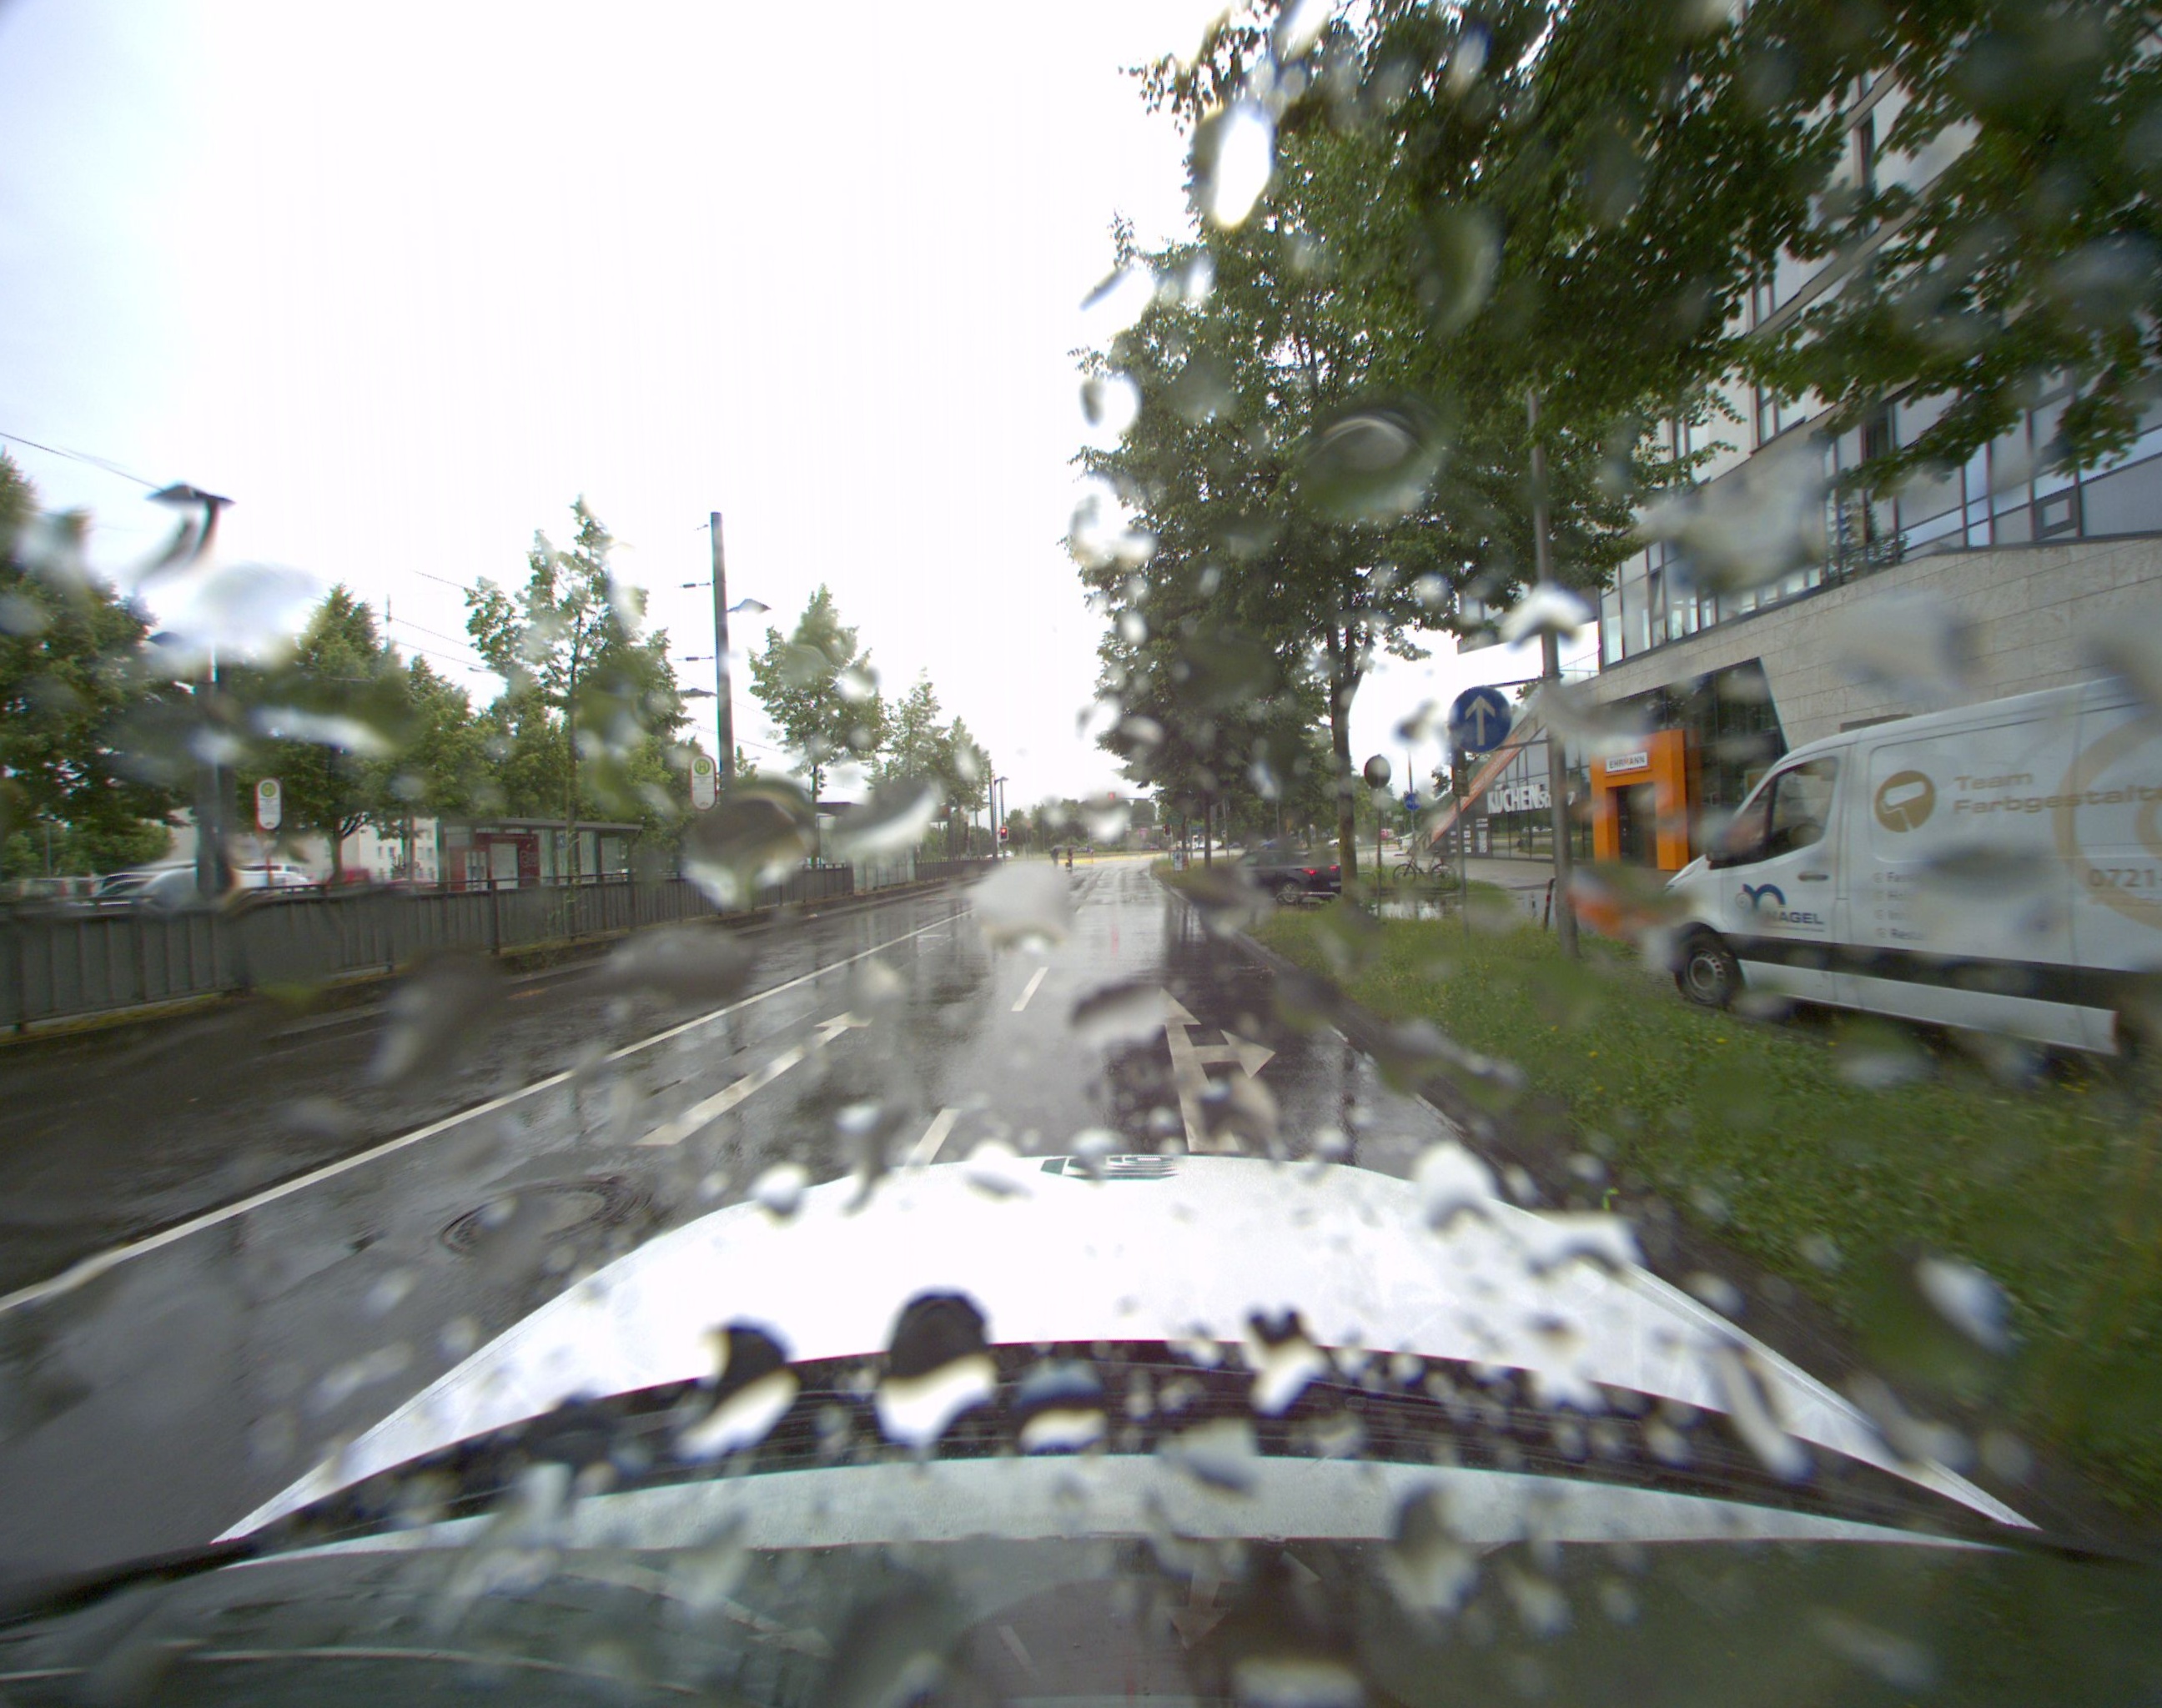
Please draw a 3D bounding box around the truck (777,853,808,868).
[{"bbox_3d":[-41.381,0.931,117.003,1.813,2.014,4.025,0,0,29],"label":"truck"}]

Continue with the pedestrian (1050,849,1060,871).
[{"bbox_3d":[-1.825,0.420,57.190,0.618,1.522,0.741,-1,0,2],"label":"pedestrian"}]

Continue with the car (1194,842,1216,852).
[{"bbox_3d":[22.386,-1.207,146.583,1.780,1.662,4.159,-1,-1,44],"label":"car"}]

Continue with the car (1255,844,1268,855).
[{"bbox_3d":[26.209,-0.696,118.278,1.606,1.454,4.005,-2,0,16],"label":"car"}]

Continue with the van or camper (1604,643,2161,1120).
[{"bbox_3d":[6.268,0.112,5.560,2.017,2.292,5.463,-2,0,2],"label":"van or camper"}]

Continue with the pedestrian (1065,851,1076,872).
[{"bbox_3d":[-0.730,0.504,58.373,0.678,1.461,0.573,-3,-1,-1],"label":"pedestrian"}]

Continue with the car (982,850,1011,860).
[{"bbox_3d":[-13.511,0.135,130.286,4.605,1.454,1.619,-2,0,-8],"label":"car"}]

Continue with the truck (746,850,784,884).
[{"bbox_3d":[-36.827,1.424,95.074,2.689,3.778,9.144,0,0,-12],"label":"truck"}]

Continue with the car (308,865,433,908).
[{"bbox_3d":[-47.680,2.097,54.926,1.607,2.470,6.512,-2,0,14],"label":"car"}]

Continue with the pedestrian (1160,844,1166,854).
[{"bbox_3d":[10.626,-0.665,105.255,0.448,1.304,0.489,-2,0,42],"label":"pedestrian"}]

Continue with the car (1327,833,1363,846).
[{"bbox_3d":[32.910,-1.768,101.603,3.960,1.454,1.624,-2,0,1],"label":"car"}]

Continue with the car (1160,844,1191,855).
[{"bbox_3d":[13.017,-0.598,112.292,1.633,1.454,4.062,-3,1,-45],"label":"car"}]

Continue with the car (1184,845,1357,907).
[{"bbox_3d":[5.013,0.540,22.032,1.842,1.420,4.296,-4,2,-39],"label":"car"}]

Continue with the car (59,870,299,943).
[{"bbox_3d":[-24.147,1.336,22.071,1.987,1.746,4.000,0,0,0],"label":"car"}]

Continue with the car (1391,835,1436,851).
[{"bbox_3d":[41.347,-1.382,101.420,4.750,1.851,1.998,-2,0,-4],"label":"car"}]

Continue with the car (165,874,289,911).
[{"bbox_3d":[-62.160,2.758,59.467,1.606,2.278,6.126,-2,1,15],"label":"car"}]

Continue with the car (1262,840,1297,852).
[{"bbox_3d":[25.029,-1.010,102.753,3.957,1.454,1.625,-2,0,3],"label":"car"}]

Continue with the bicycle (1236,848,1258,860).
[{"bbox_3d":[11.262,0.012,55.340,0.381,0.787,1.841,0,0,-30],"label":"bicycle"}]

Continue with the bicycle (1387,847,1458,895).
[{"bbox_3d":[9.896,0.481,23.612,1.825,1.346,0.536,-1,1,28],"label":"bicycle"}]

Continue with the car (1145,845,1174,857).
[{"bbox_3d":[11.370,-0.436,117.396,3.937,1.454,1.633,-2,1,43],"label":"car"}]
